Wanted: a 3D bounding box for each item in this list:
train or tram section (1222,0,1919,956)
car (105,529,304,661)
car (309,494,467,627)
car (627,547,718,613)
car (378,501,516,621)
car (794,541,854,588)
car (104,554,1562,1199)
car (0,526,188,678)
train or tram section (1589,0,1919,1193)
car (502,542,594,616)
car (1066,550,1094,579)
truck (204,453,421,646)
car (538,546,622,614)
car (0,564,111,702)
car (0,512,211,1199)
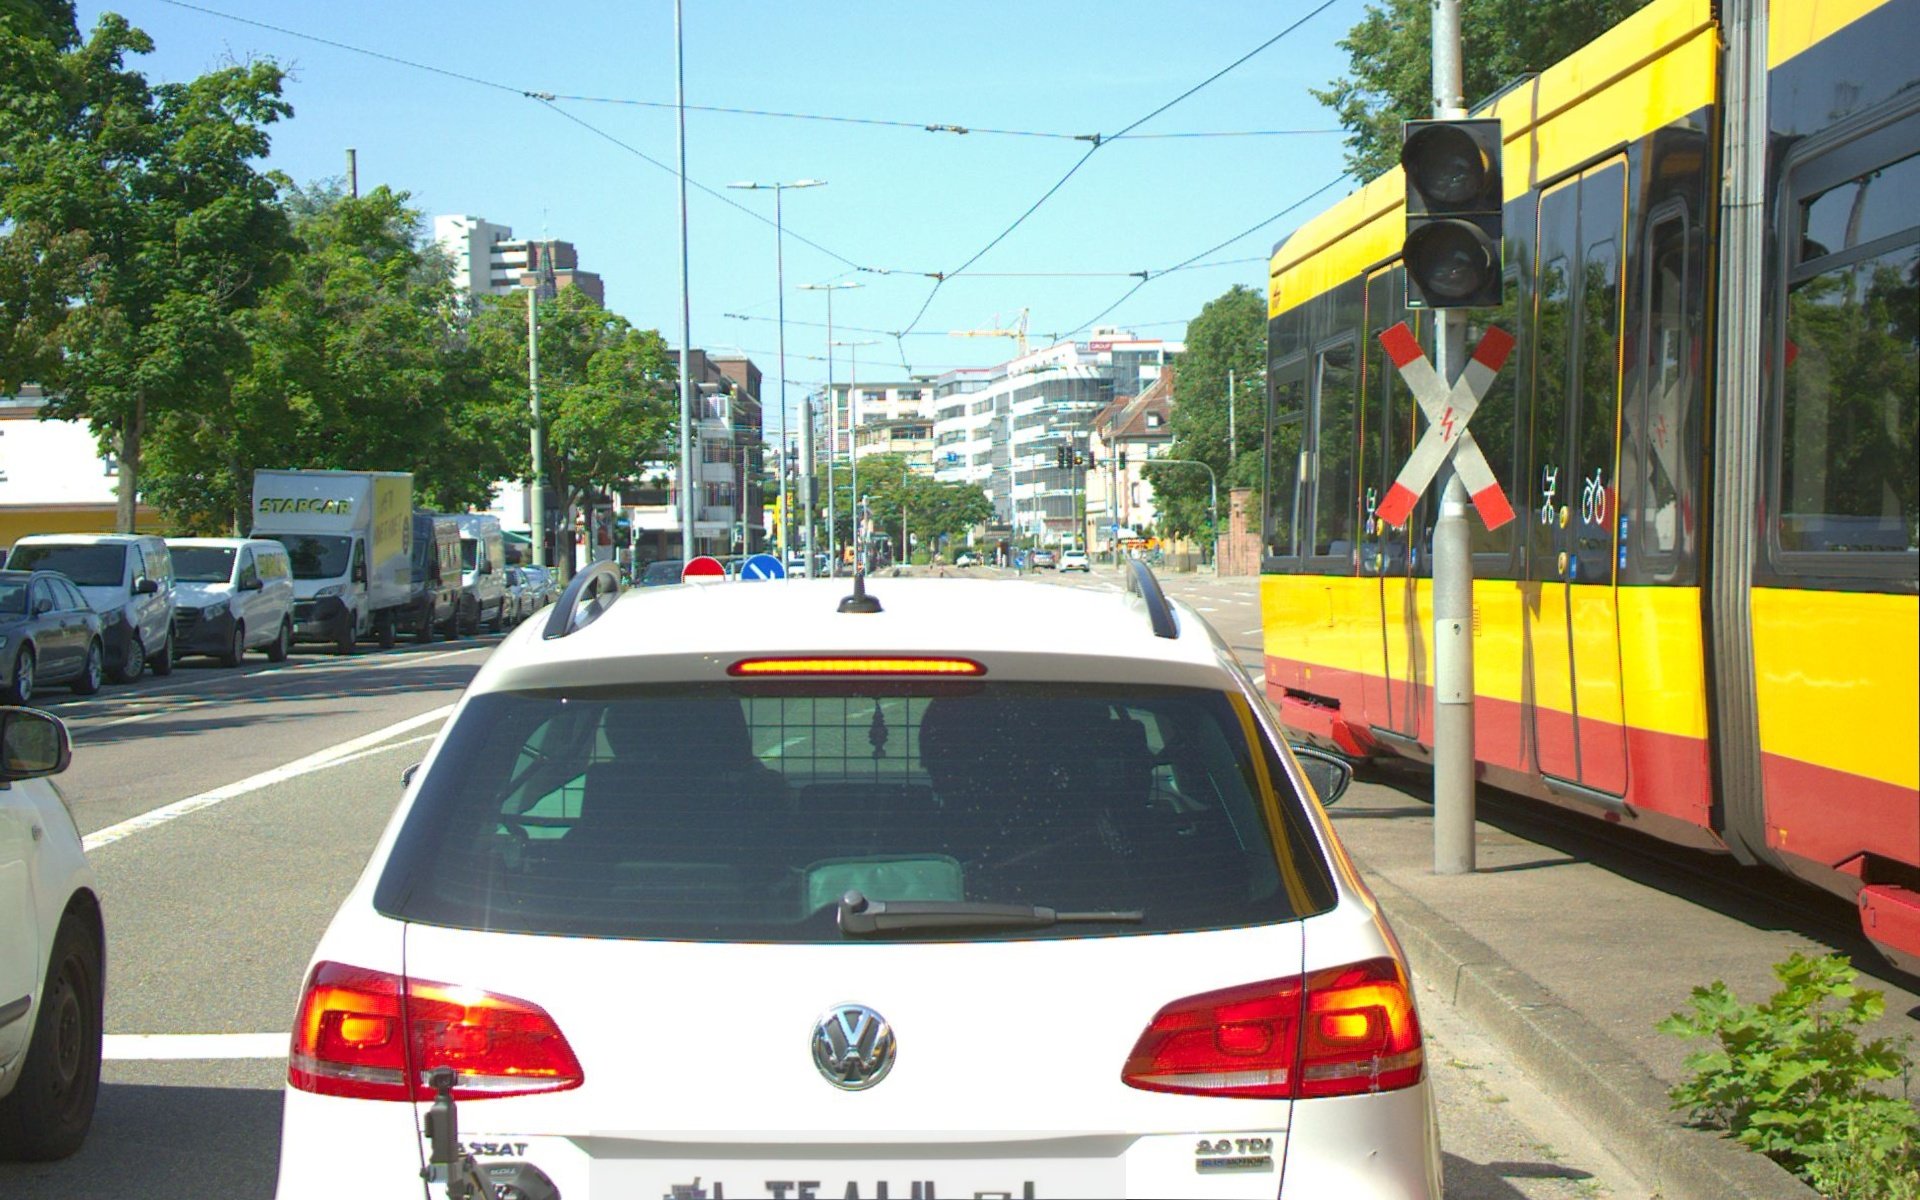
[{"bbox_3d":[3.422,-0.825,17.135,2.870,3.842,10.540,-1,1,-3],"label":"train or tram section"},{"bbox_3d":[-11.320,-0.121,51.898,1.863,1.861,5.414,1,1,-1],"label":"car"},{"bbox_3d":[-11.298,-0.805,68.313,2.123,2.508,5.733,1,1,0],"label":"car"},{"bbox_3d":[-6.888,-0.506,82.626,1.705,1.468,4.589,-2,1,1],"label":"car"},{"bbox_3d":[-11.244,-0.876,75.750,2.123,2.508,5.733,1,1,0],"label":"car"},{"bbox_3d":[-4.445,-1.188,112.817,1.705,1.468,4.589,-2,1,1],"label":"car"},{"bbox_3d":[-0.166,0.663,6.205,1.762,1.425,4.000,-1,1,-1],"label":"car"},{"bbox_3d":[-11.450,-0.028,45.305,1.863,1.861,5.075,1,1,-6],"label":"car"},{"bbox_3d":[3.712,-0.491,5.701,2.870,3.842,12.392,-1,1,-1],"label":"train or tram section"},{"bbox_3d":[-10.944,-0.581,91.679,1.863,1.861,5.414,1,1,-1],"label":"car"},{"bbox_3d":[7.806,-2.312,223.125,1.608,1.857,3.731,1,1,-1],"label":"car"},{"bbox_3d":[-11.249,-0.900,60.311,2.421,3.139,6.997,1,1,0],"label":"truck"},{"bbox_3d":[-10.863,-0.595,98.597,1.863,1.861,5.414,1,1,-1],"label":"car"},{"bbox_3d":[-11.020,0.327,38.775,1.863,1.411,4.280,1,1,-1],"label":"car"},{"bbox_3d":[-2.947,0.583,7.356,1.662,1.542,4.547,0,1,0],"label":"car"}]
